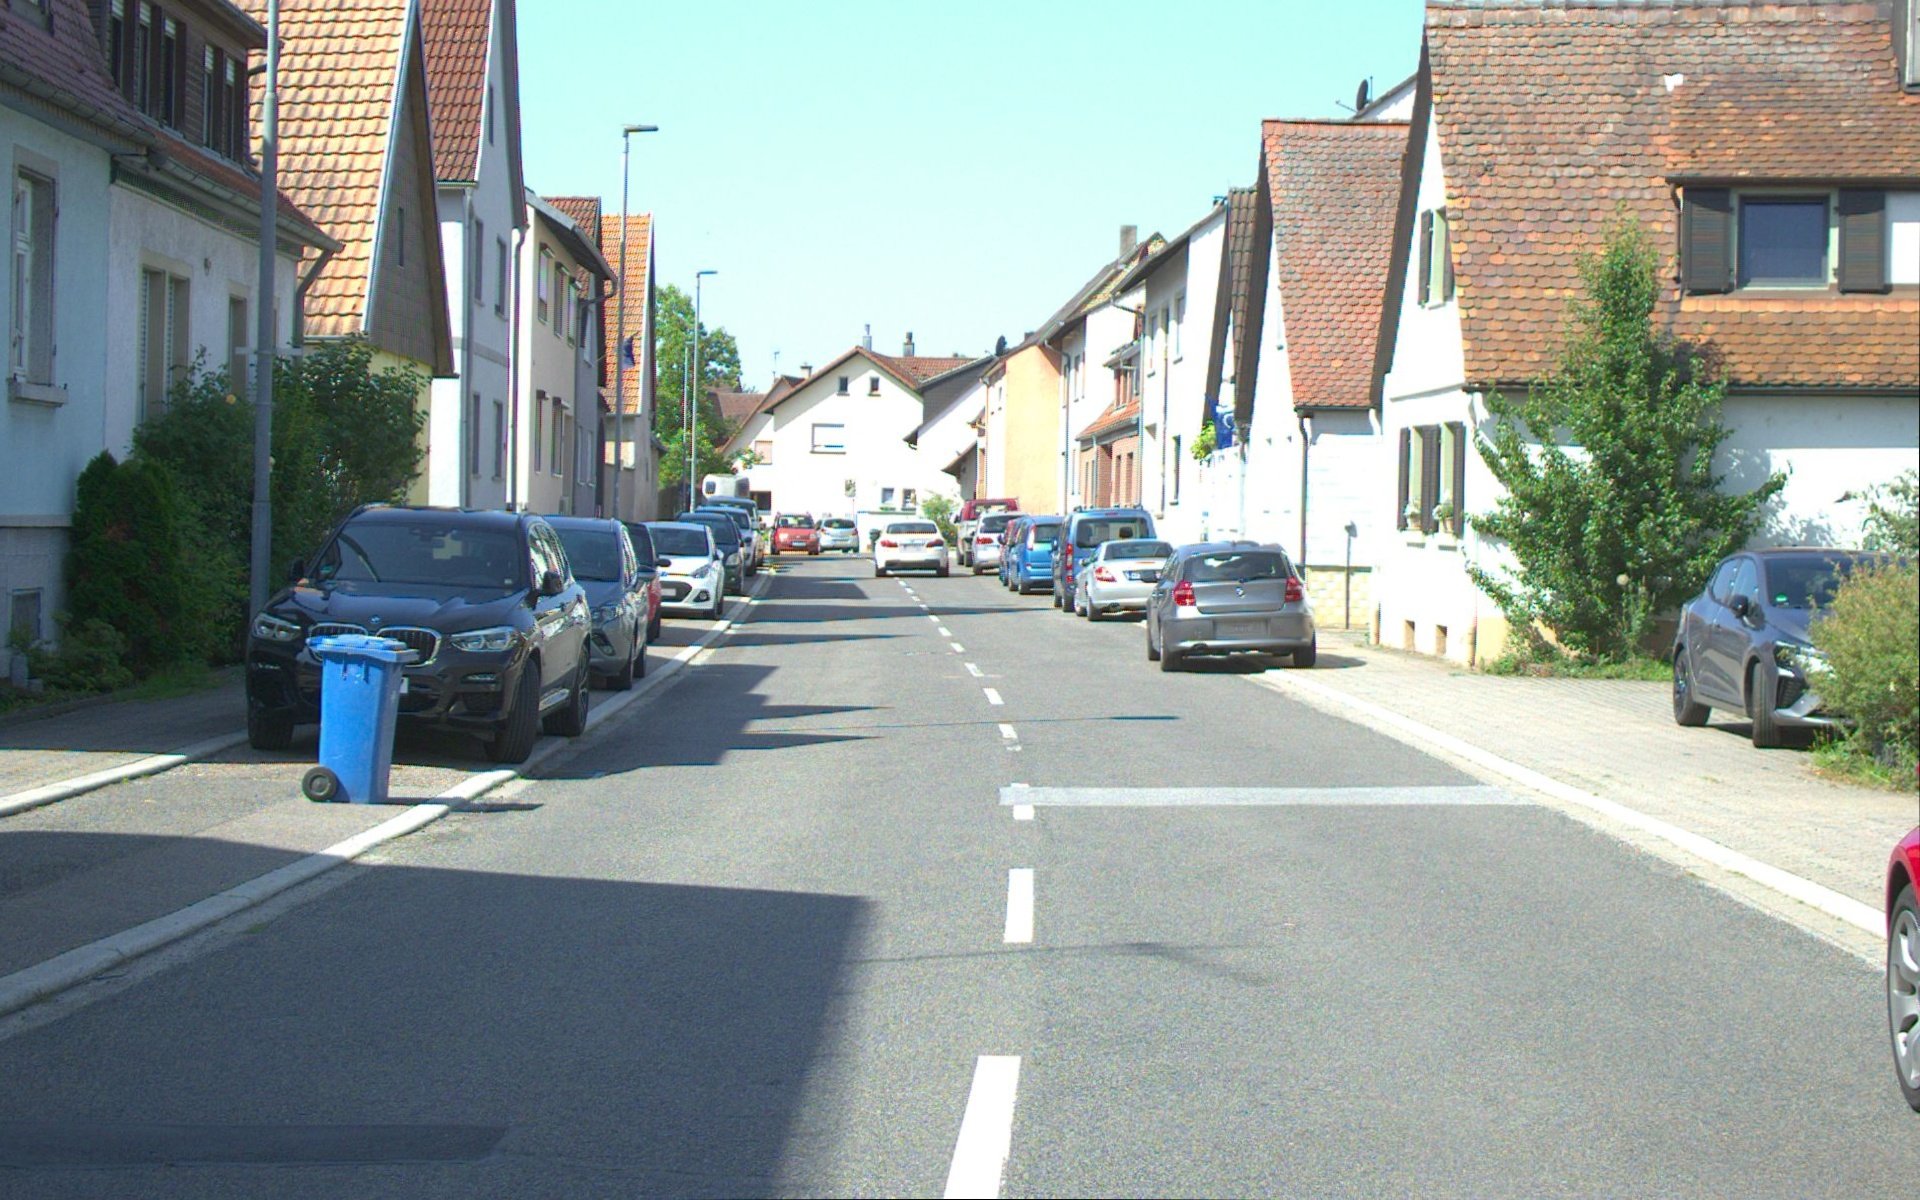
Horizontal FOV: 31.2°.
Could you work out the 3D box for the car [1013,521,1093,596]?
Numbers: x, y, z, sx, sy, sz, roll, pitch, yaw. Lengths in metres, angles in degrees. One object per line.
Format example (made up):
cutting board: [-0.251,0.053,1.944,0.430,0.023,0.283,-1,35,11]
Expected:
car: [1.930,-0.880,71.932,1.420,1.510,3.304,1,1,-3]

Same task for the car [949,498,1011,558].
car: [0.505,-1.875,89.459,1.420,1.510,3.304,1,1,-3]

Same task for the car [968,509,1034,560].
car: [1.151,-1.861,97.842,1.767,1.428,3.450,-1,1,-1]

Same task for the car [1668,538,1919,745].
car: [6.504,0.253,25.672,1.690,1.415,4.145,0,1,2]

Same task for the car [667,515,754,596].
car: [-5.006,-0.913,69.275,1.619,1.572,3.962,1,1,-3]

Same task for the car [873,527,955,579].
car: [-1.192,-1.210,88.038,1.993,1.284,4.000,-1,1,-2]

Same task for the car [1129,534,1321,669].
car: [2.978,-0.018,39.316,1.704,1.428,3.890,1,1,-3]

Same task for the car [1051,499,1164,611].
car: [2.568,-0.814,60.681,1.649,1.903,3.626,1,1,-3]

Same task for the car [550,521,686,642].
car: [-4.527,-0.272,45.830,1.552,1.539,2.988,1,1,-1]

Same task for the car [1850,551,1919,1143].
car: [3.162,0.650,7.318,1.733,1.489,4.354,-2,1,5]

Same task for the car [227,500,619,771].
car: [-3.662,0.187,24.279,1.920,1.662,4.665,2,1,1]

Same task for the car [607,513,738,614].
car: [-4.607,-0.614,55.636,1.806,1.542,4.404,1,1,-1]

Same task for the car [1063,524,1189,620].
car: [2.674,-0.473,55.909,1.704,1.491,3.453,1,1,-3]

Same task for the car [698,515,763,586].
car: [-5.688,-1.256,85.405,1.527,1.707,3.626,1,1,-3]

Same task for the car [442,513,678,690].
car: [-3.924,-0.040,34.432,1.873,1.631,4.664,1,1,-1]

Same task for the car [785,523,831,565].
car: [-5.465,-2.028,123.520,1.601,1.484,3.626,1,1,-3]

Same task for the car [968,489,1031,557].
car: [1.166,-2.295,102.625,1.767,1.997,3.450,-1,1,-1]

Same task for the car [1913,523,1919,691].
car: [11.471,0.062,33.038,4.175,1.652,1.812,0,1,5]

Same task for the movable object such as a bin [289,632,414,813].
movable object such as a bin: [-3.425,0.685,19.383,0.596,0.979,0.531,1,1,0]

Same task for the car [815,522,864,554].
car: [-4.982,-2.562,142.165,1.993,1.284,3.804,-1,1,-2]
